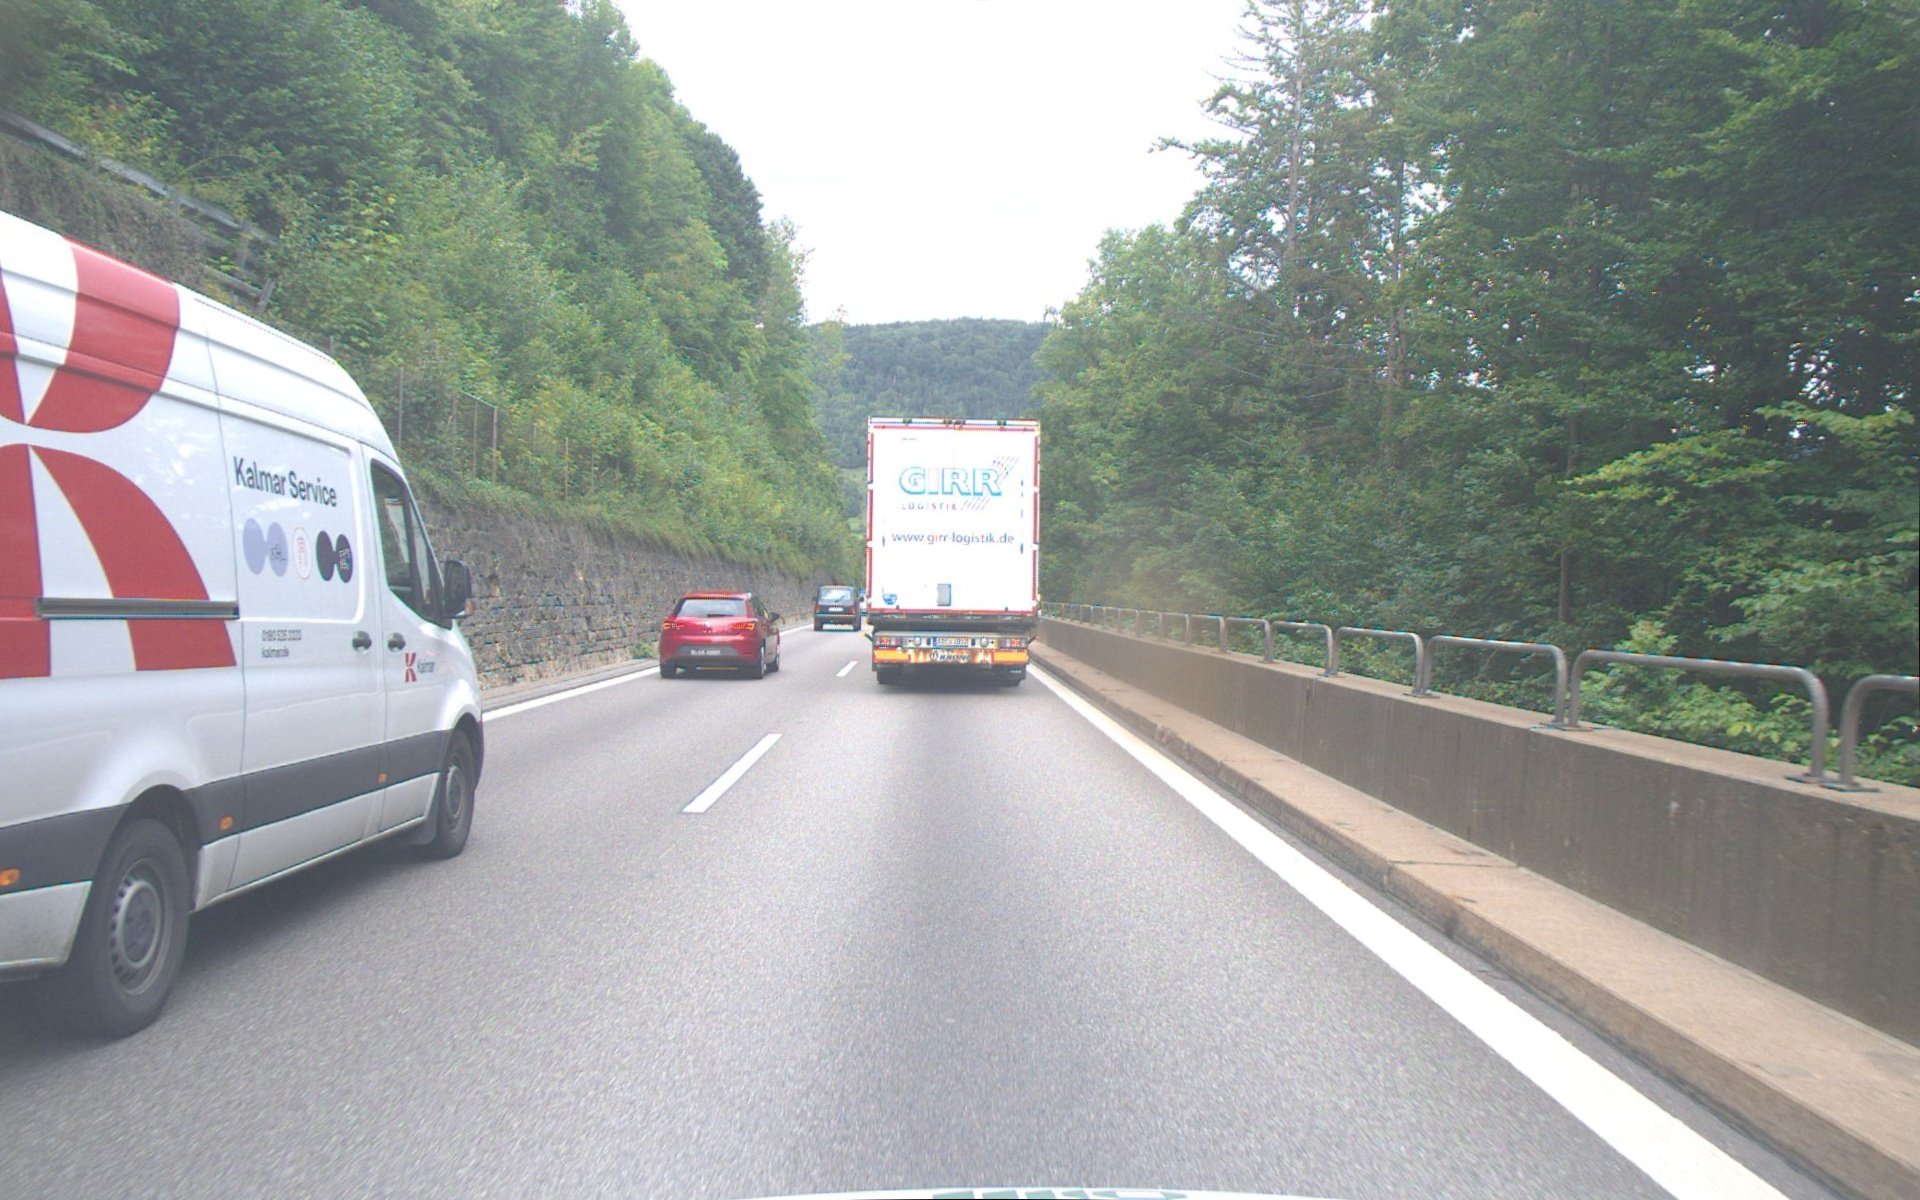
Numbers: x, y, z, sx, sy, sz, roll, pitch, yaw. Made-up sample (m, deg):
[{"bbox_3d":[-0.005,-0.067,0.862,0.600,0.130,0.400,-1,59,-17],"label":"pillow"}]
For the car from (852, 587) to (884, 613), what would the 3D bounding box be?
[{"bbox_3d":[-5.401,-0.012,97.296,1.694,1.512,3.999,0,0,-1],"label":"car"}]

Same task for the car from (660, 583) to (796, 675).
[{"bbox_3d":[-3.967,0.476,28.890,1.730,1.485,4.411,0,0,0],"label":"car"}]

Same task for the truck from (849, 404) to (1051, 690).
[{"bbox_3d":[-0.150,-0.752,28.007,2.849,4.030,9.278,0,0,0],"label":"truck"}]

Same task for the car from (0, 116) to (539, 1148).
[{"bbox_3d":[-3.521,0.092,7.089,1.985,2.630,6.272,0,0,-2],"label":"car"}]

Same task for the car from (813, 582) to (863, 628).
[{"bbox_3d":[-4.488,0.192,61.233,1.635,1.667,4.067,0,0,-1],"label":"car"}]
